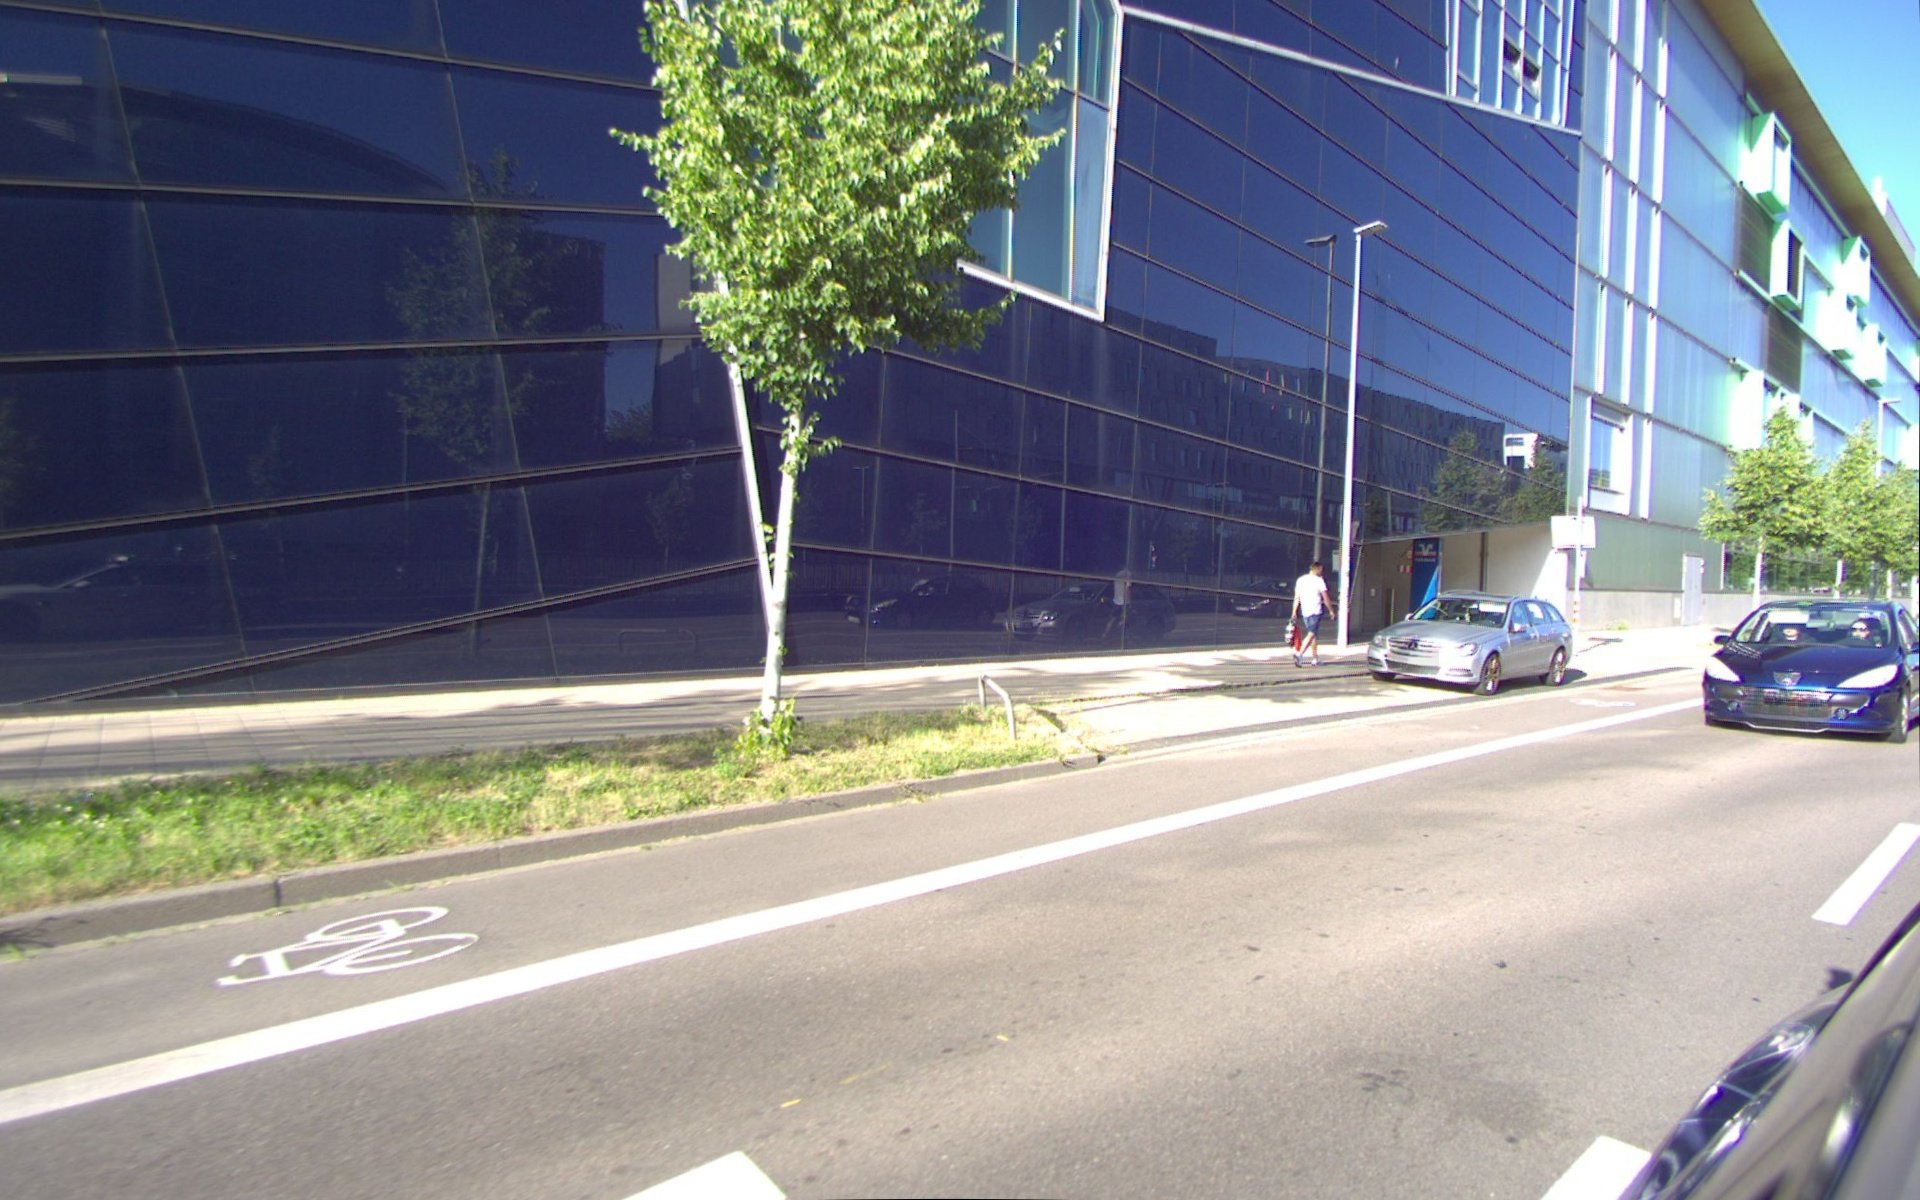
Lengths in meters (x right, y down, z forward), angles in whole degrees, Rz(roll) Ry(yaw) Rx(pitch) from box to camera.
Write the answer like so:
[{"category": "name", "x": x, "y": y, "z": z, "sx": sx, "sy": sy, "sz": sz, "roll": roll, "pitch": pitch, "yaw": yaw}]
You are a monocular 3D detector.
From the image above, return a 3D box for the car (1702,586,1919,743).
[{"category": "car", "x": 10.169, "y": 0.604, "z": 11.700, "sx": 3.902, "sy": 1.497, "sz": 1.752, "roll": 0, "pitch": 1, "yaw": -41}]

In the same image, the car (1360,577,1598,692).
[{"category": "car", "x": 8.410, "y": 0.454, "z": 16.205, "sx": 4.633, "sy": 1.516, "sz": 1.739, "roll": 0, "pitch": 4, "yaw": -41}]

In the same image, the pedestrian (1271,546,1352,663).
[{"category": "pedestrian", "x": 5.868, "y": 0.057, "z": 16.909, "sx": 0.889, "sy": 1.846, "sz": 0.829, "roll": 0, "pitch": 5, "yaw": -41}]
